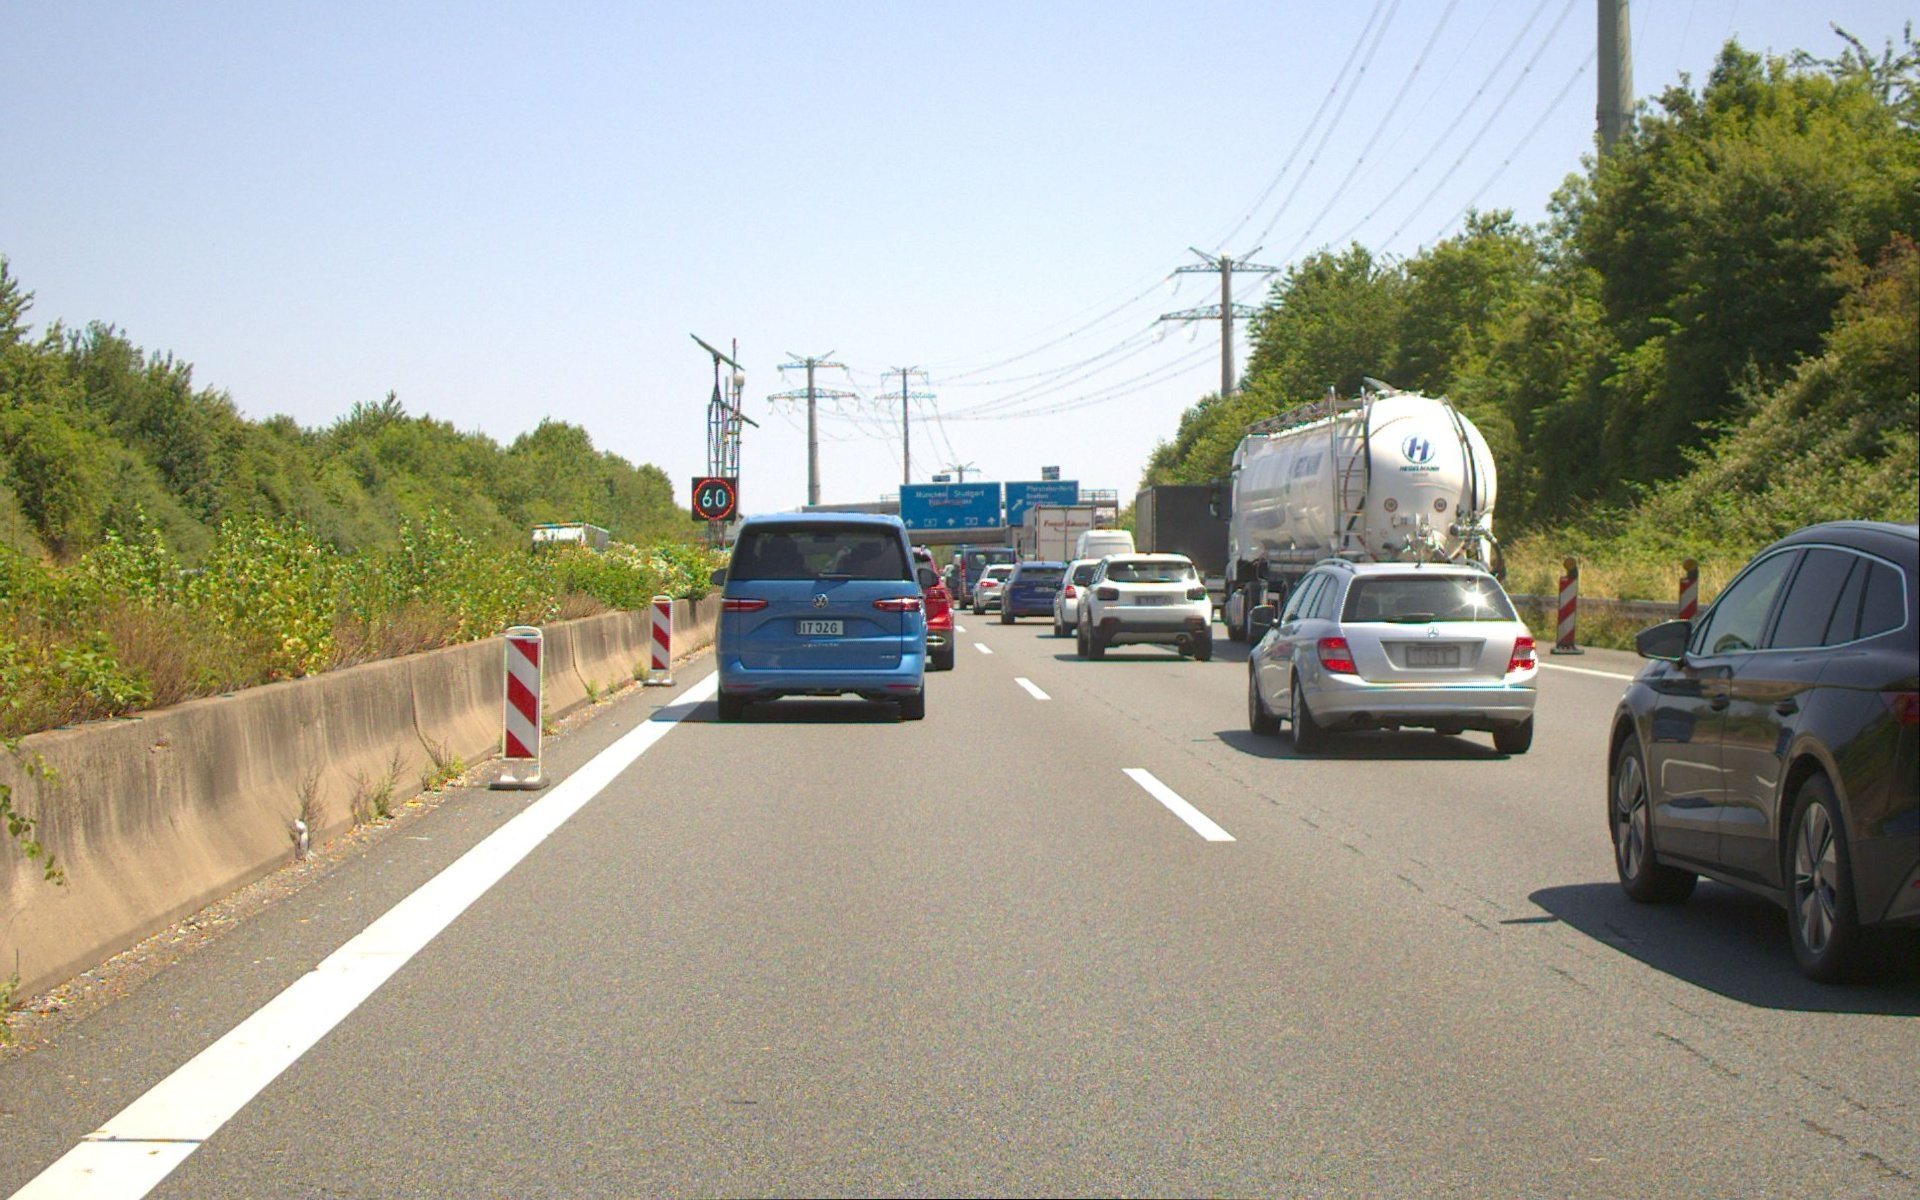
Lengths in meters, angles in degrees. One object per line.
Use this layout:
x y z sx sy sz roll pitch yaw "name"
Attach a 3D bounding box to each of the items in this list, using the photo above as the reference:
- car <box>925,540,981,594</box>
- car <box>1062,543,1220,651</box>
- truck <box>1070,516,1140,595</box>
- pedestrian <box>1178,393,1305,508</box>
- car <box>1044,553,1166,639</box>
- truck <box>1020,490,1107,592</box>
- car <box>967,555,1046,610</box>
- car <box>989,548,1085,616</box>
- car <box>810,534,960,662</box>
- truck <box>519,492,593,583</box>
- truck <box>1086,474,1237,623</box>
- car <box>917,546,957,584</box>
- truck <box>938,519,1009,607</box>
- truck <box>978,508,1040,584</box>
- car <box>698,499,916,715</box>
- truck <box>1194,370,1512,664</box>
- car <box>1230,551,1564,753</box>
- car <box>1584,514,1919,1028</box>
-0.285 -1.285 133.566 1.993 2.007 4.000 1 1 -2 "car"
2.616 -0.059 50.588 1.908 1.503 3.922 1 1 -3 "car"
5.100 -1.561 121.729 1.993 2.714 5.680 1 1 -2 "truck"
5.281 -2.787 64.891 1.993 2.007 4.000 1 1 -1 "pedestrian"
2.730 -0.091 65.592 1.908 1.564 4.384 1 1 -3 "car"
4.499 -2.575 151.777 2.937 4.276 12.553 1 1 -2 "truck"
1.288 -0.504 96.884 1.908 1.511 4.384 1 1 -3 "car"
1.776 -0.432 80.369 1.908 1.511 4.384 1 1 -3 "car"
-1.041 -0.048 45.953 1.908 1.625 4.384 0 1 -2 "car"
-19.603 -3.030 167.109 2.751 4.152 6.411 -4 1 -2 "truck"
5.036 -1.293 88.314 2.644 3.526 12.553 1 1 -2 "truck"
-1.265 -1.922 187.025 1.993 2.007 4.000 1 1 -2 "car"
0.407 -1.198 110.656 1.993 2.714 5.680 1 1 -2 "truck"
2.848 -3.156 202.015 2.937 4.276 12.553 1 1 -2 "truck"
-1.510 0.039 32.434 1.870 1.873 4.384 1 1 -5 "car"
6.025 -1.246 56.036 2.644 4.058 16.442 1 1 -2 "truck"
3.309 0.349 26.853 1.821 1.432 4.384 1 1 -3 "car"
3.752 0.501 12.991 1.828 1.609 4.431 0 1 -2 "car"
